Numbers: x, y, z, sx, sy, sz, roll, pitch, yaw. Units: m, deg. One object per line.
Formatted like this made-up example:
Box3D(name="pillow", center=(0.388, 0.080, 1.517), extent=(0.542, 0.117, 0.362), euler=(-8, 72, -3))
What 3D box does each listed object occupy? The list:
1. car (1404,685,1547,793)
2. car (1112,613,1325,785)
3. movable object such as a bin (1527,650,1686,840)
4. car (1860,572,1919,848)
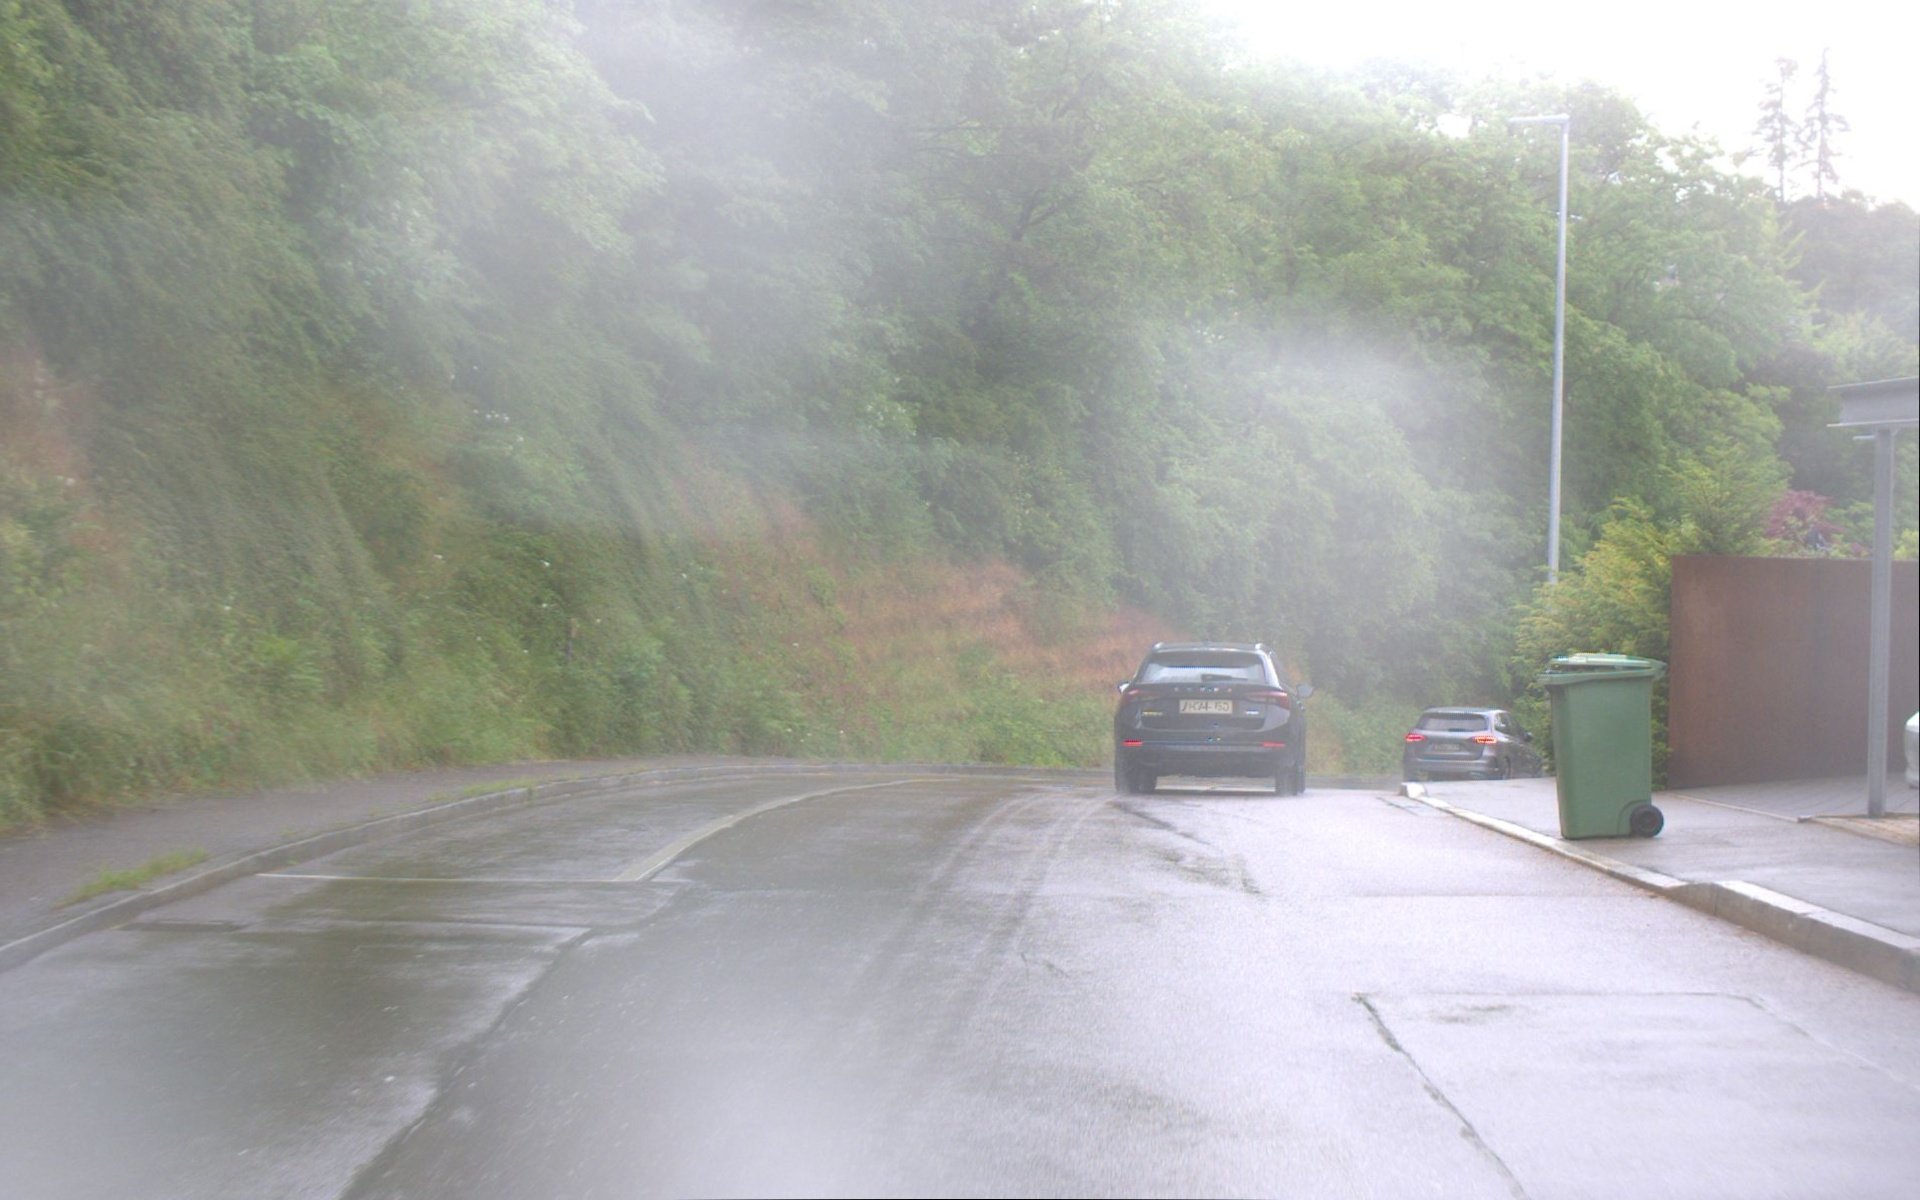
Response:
Box3D(name="car", center=(9.235, 2.442, 61.353), extent=(1.995, 1.600, 4.406), euler=(2, 2, 15))
Box3D(name="car", center=(2.473, 0.991, 33.722), extent=(1.868, 1.507, 4.092), euler=(2, -2, 2))
Box3D(name="movable object such as a bin", center=(3.909, 0.871, 20.843), extent=(0.789, 1.092, 0.675), euler=(-3, -1, 1))
Box3D(name="car", center=(7.030, 0.639, 18.221), extent=(4.218, 1.410, 1.940), euler=(2, -1, 11))
